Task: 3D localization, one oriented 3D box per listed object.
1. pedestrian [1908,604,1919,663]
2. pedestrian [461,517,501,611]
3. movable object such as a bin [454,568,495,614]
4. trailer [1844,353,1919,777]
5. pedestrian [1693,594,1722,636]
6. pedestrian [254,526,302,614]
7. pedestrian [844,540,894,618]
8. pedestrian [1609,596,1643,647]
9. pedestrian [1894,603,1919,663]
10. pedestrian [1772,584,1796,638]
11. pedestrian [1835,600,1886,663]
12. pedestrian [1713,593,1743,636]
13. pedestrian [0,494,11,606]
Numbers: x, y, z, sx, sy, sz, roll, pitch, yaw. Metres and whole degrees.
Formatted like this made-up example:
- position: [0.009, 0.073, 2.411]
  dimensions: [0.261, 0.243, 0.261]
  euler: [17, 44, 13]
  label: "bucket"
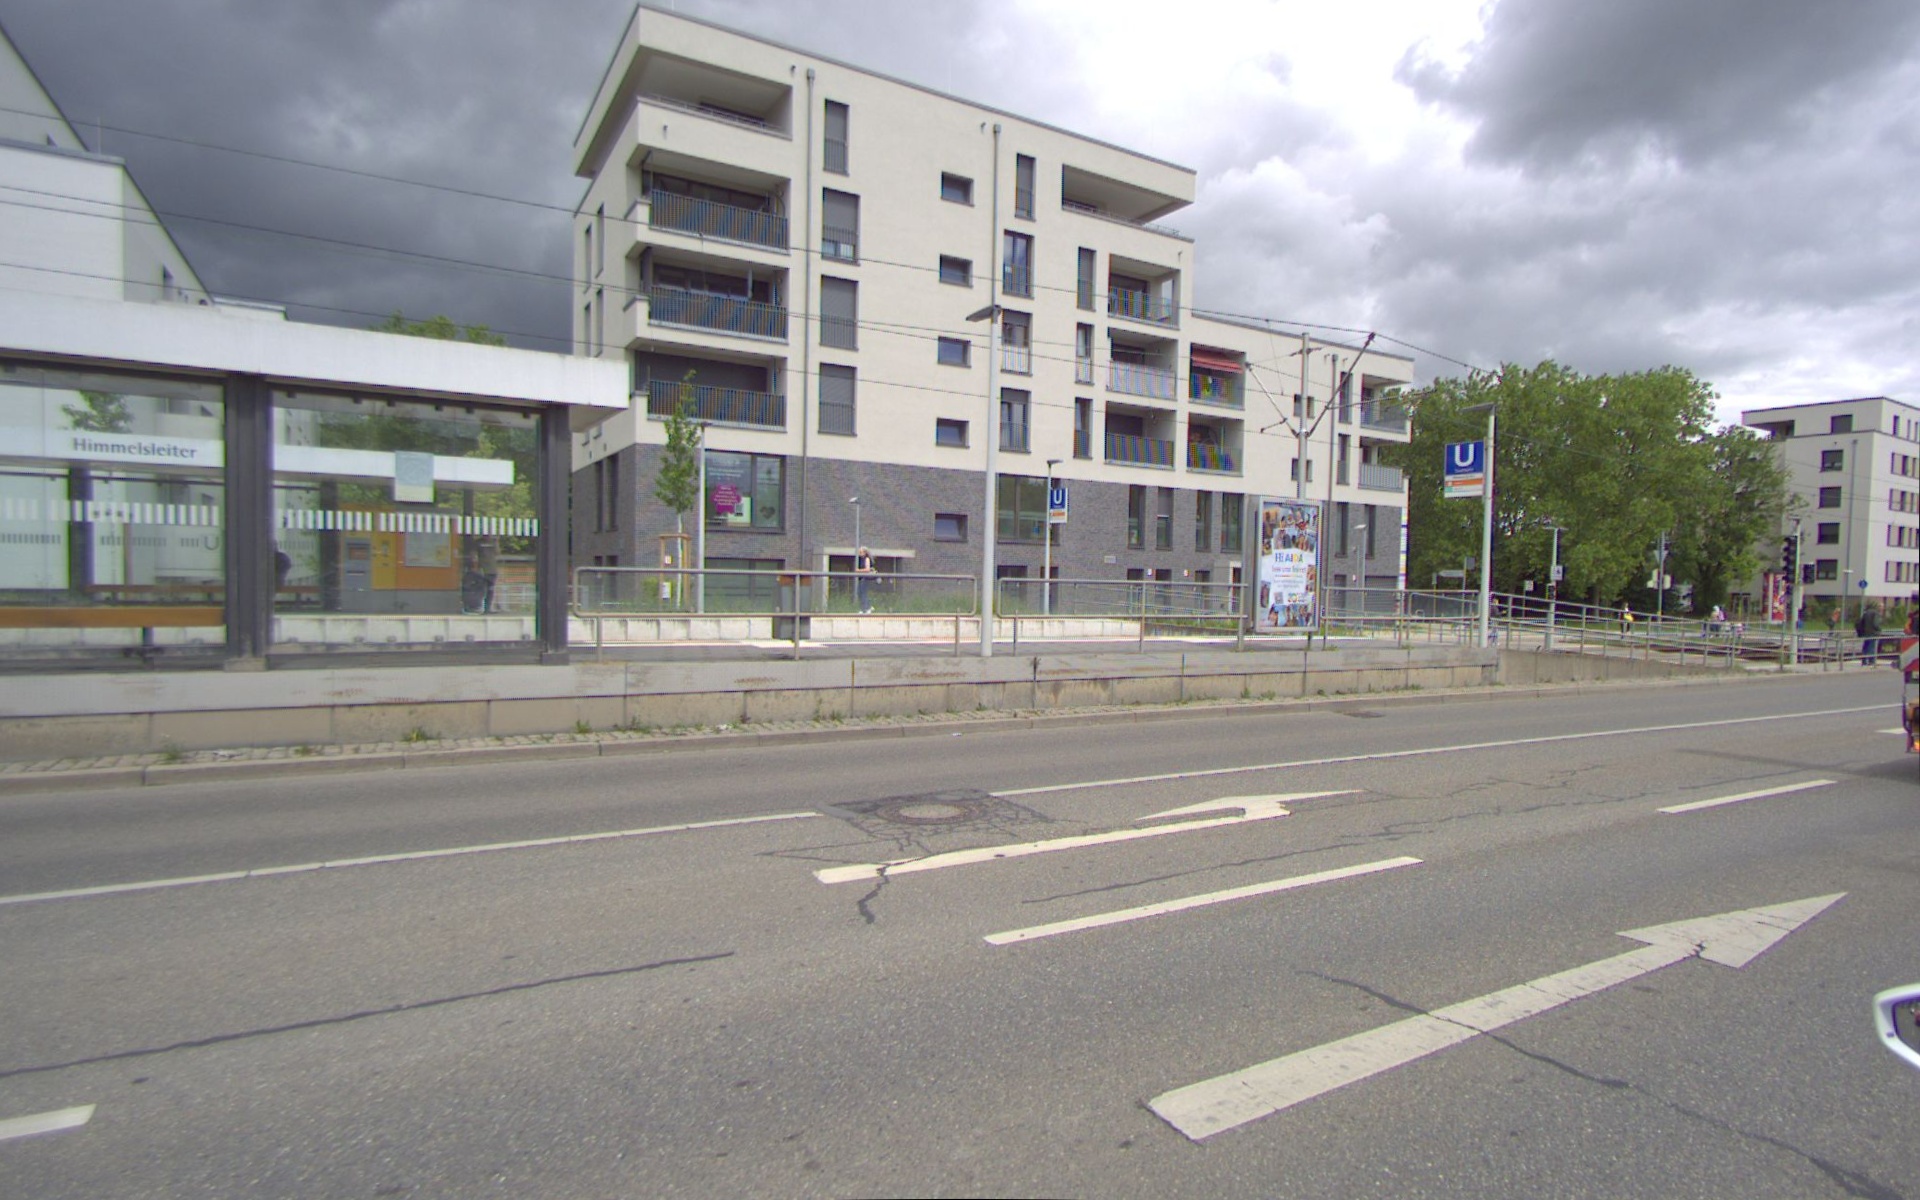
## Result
- position: [27.206, 0.940, 28.165]
  dimensions: [0.814, 1.624, 0.678]
  euler: [0, 2, -31]
  label: "pedestrian"
- position: [-9.325, -0.700, 19.549]
  dimensions: [0.669, 1.789, 0.559]
  euler: [0, 2, -29]
  label: "pedestrian"
- position: [-9.209, -0.175, 19.060]
  dimensions: [0.669, 0.861, 0.559]
  euler: [0, 2, -29]
  label: "movable object such as a bin"
- position: [13.388, -0.232, 10.639]
  dimensions: [11.123, 3.607, 2.715]
  euler: [0, 2, -31]
  label: "trailer"
- position: [39.898, 0.784, 53.607]
  dimensions: [0.924, 2.162, 0.910]
  euler: [0, 2, -31]
  label: "pedestrian"
- position: [-12.417, -0.537, 18.310]
  dimensions: [0.669, 1.575, 0.559]
  euler: [0, 2, -29]
  label: "pedestrian"
- position: [-2.140, -0.489, 23.592]
  dimensions: [0.923, 1.789, 0.671]
  euler: [0, 2, -32]
  label: "pedestrian"
- position: [29.773, 0.954, 44.890]
  dimensions: [0.872, 2.234, 0.910]
  euler: [0, 2, -31]
  label: "pedestrian"
- position: [26.350, 0.908, 27.673]
  dimensions: [0.814, 1.624, 0.678]
  euler: [0, 2, -31]
  label: "pedestrian"
- position: [43.951, 0.589, 53.602]
  dimensions: [0.733, 2.812, 0.684]
  euler: [0, 2, -31]
  label: "pedestrian"
- position: [24.978, 0.864, 27.862]
  dimensions: [0.675, 1.691, 0.816]
  euler: [0, 2, -29]
  label: "pedestrian"
- position: [40.333, 0.755, 52.751]
  dimensions: [0.924, 2.162, 0.910]
  euler: [0, 2, -31]
  label: "pedestrian"
- position: [-15.652, -0.802, 15.961]
  dimensions: [0.664, 1.789, 0.489]
  euler: [1, 2, 4]
  label: "pedestrian"
